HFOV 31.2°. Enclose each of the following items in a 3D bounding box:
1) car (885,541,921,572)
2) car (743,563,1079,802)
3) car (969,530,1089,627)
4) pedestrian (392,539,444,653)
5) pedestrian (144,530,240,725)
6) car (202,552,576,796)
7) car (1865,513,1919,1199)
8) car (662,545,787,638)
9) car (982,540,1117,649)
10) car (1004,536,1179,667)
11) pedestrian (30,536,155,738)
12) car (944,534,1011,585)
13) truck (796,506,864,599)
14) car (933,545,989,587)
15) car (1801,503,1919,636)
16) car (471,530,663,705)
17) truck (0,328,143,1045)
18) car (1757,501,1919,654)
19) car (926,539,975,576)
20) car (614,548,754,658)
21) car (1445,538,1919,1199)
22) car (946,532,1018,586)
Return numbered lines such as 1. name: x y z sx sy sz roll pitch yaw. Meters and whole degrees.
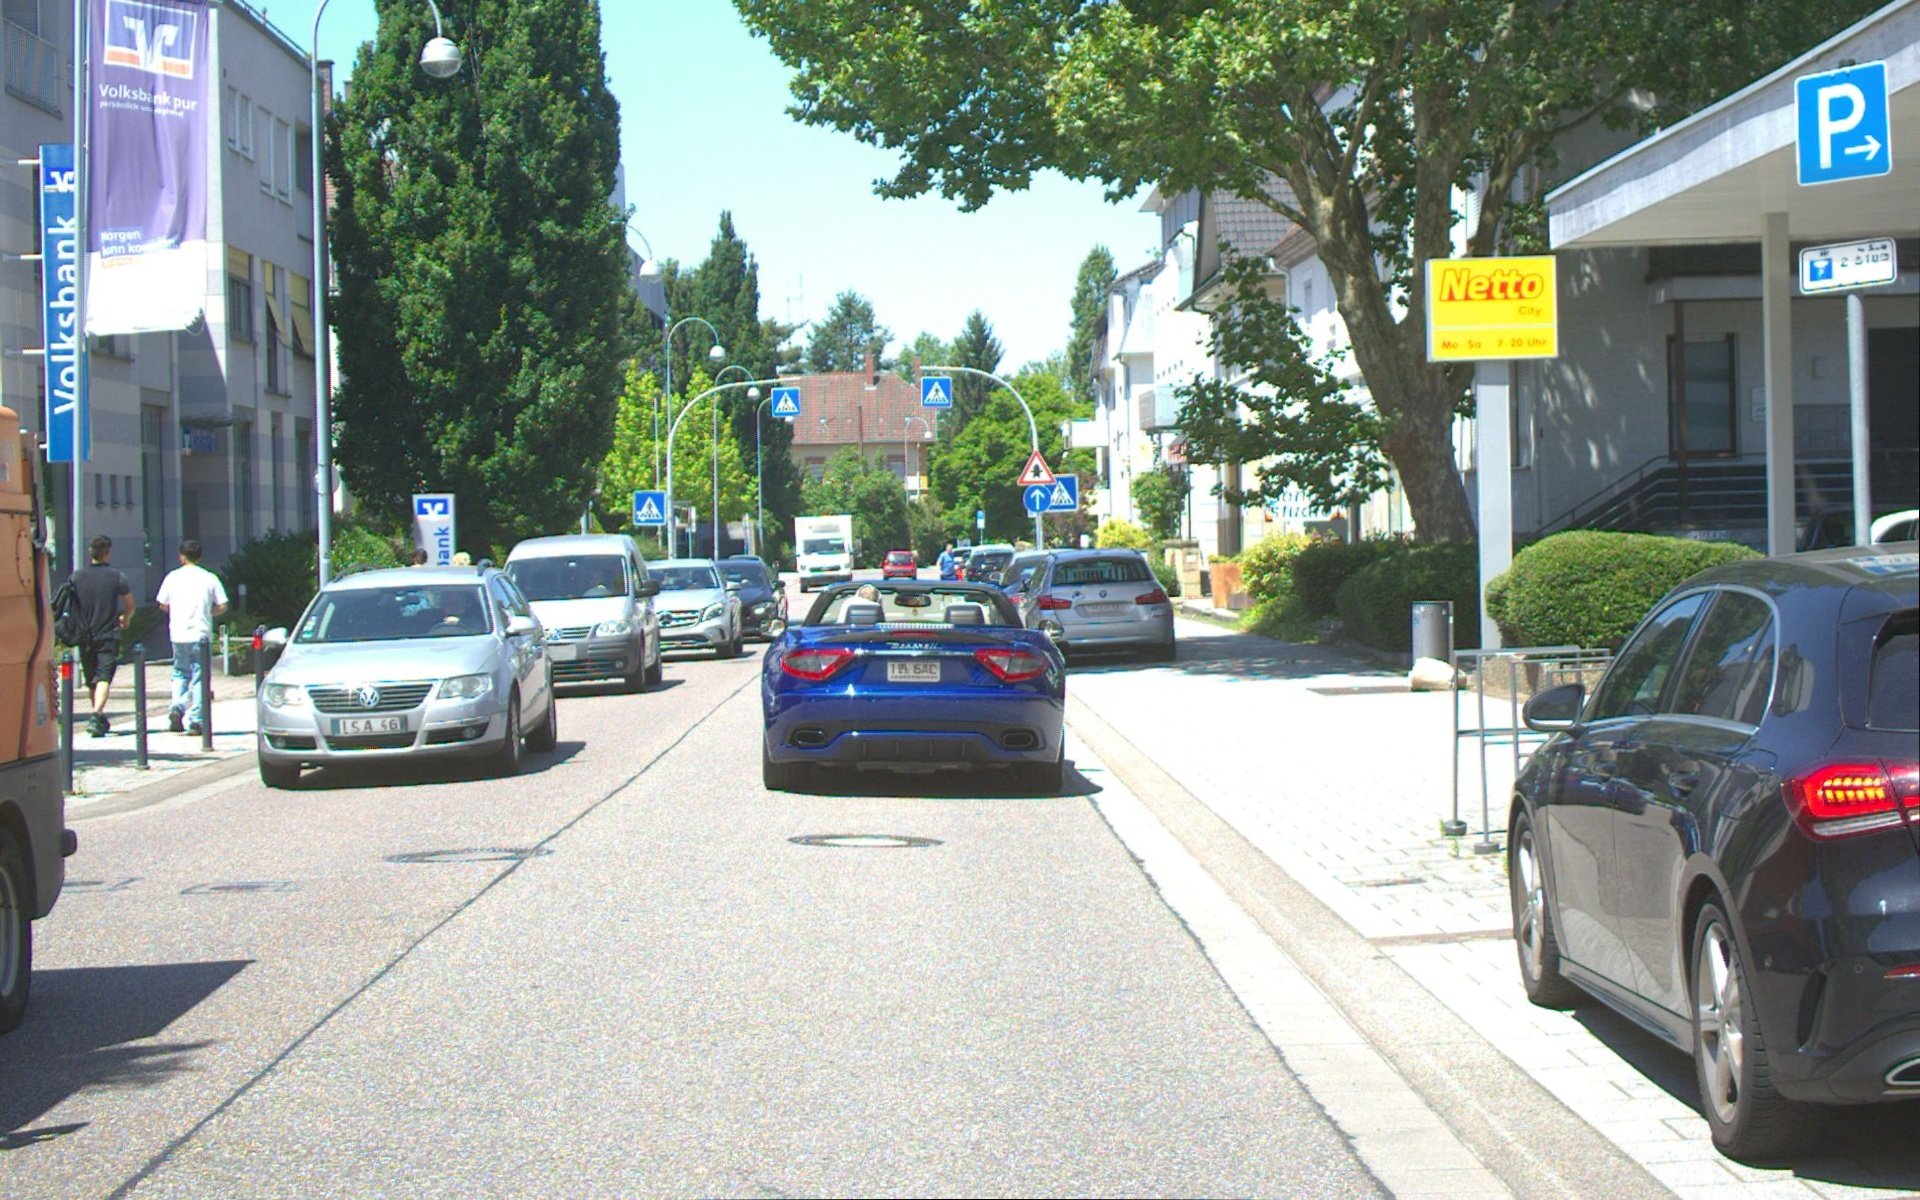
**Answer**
1. car: -2.834 -2.126 170.244 1.769 1.471 4.138 -1 0 -1
2. car: -0.349 0.471 22.714 1.976 1.393 4.627 1 0 -1
3. car: 1.224 -0.425 62.986 1.976 1.551 4.349 -3 2 -1
4. pedestrian: -7.619 -0.065 48.310 0.587 1.569 0.781 -1 1 -2
5. pedestrian: -6.745 0.243 30.223 0.631 1.685 0.961 0 -1 -1
6. car: -4.058 0.456 25.223 1.949 1.503 4.797 -3 1 -1
7. car: 2.659 0.580 4.009 1.894 1.525 4.569 -3 0 -1
8. car: -4.126 -0.180 60.748 1.950 1.471 4.138 -3 1 -1
9. car: 1.441 -0.126 56.818 1.976 1.551 4.349 -3 2 -1
10. car: 1.655 -0.026 44.571 1.976 1.445 4.349 -3 2 -1
11. pedestrian: -7.591 0.329 30.103 0.885 1.743 0.818 0 -1 -1
12. car: 0.531 -1.292 108.407 1.950 1.471 4.138 -3 1 -1
13. truck: -5.180 -1.875 135.816 2.420 3.470 7.005 -3 1 -3
14. car: 0.010 -1.295 129.769 1.950 1.471 4.138 -3 1 -1
15. car: 11.244 -0.418 41.677 1.845 1.448 3.997 -4 1 15
16. car: -4.402 0.147 39.001 1.769 1.761 4.138 -3 2 -2
17. truck: -3.740 0.299 9.480 1.804 2.110 4.715 -3 1 -1
18. car: 9.930 -0.277 33.719 1.843 1.448 4.000 -4 1 -28
19. car: -0.431 -1.818 146.553 1.950 1.471 4.138 -3 1 -1
20. car: -4.062 0.015 51.139 1.769 1.471 4.138 -3 1 -1
21. car: 2.592 0.549 9.379 1.845 1.409 4.163 -3 1 -1
22. car: 0.629 -1.236 101.507 1.950 1.471 4.138 -3 1 -1
